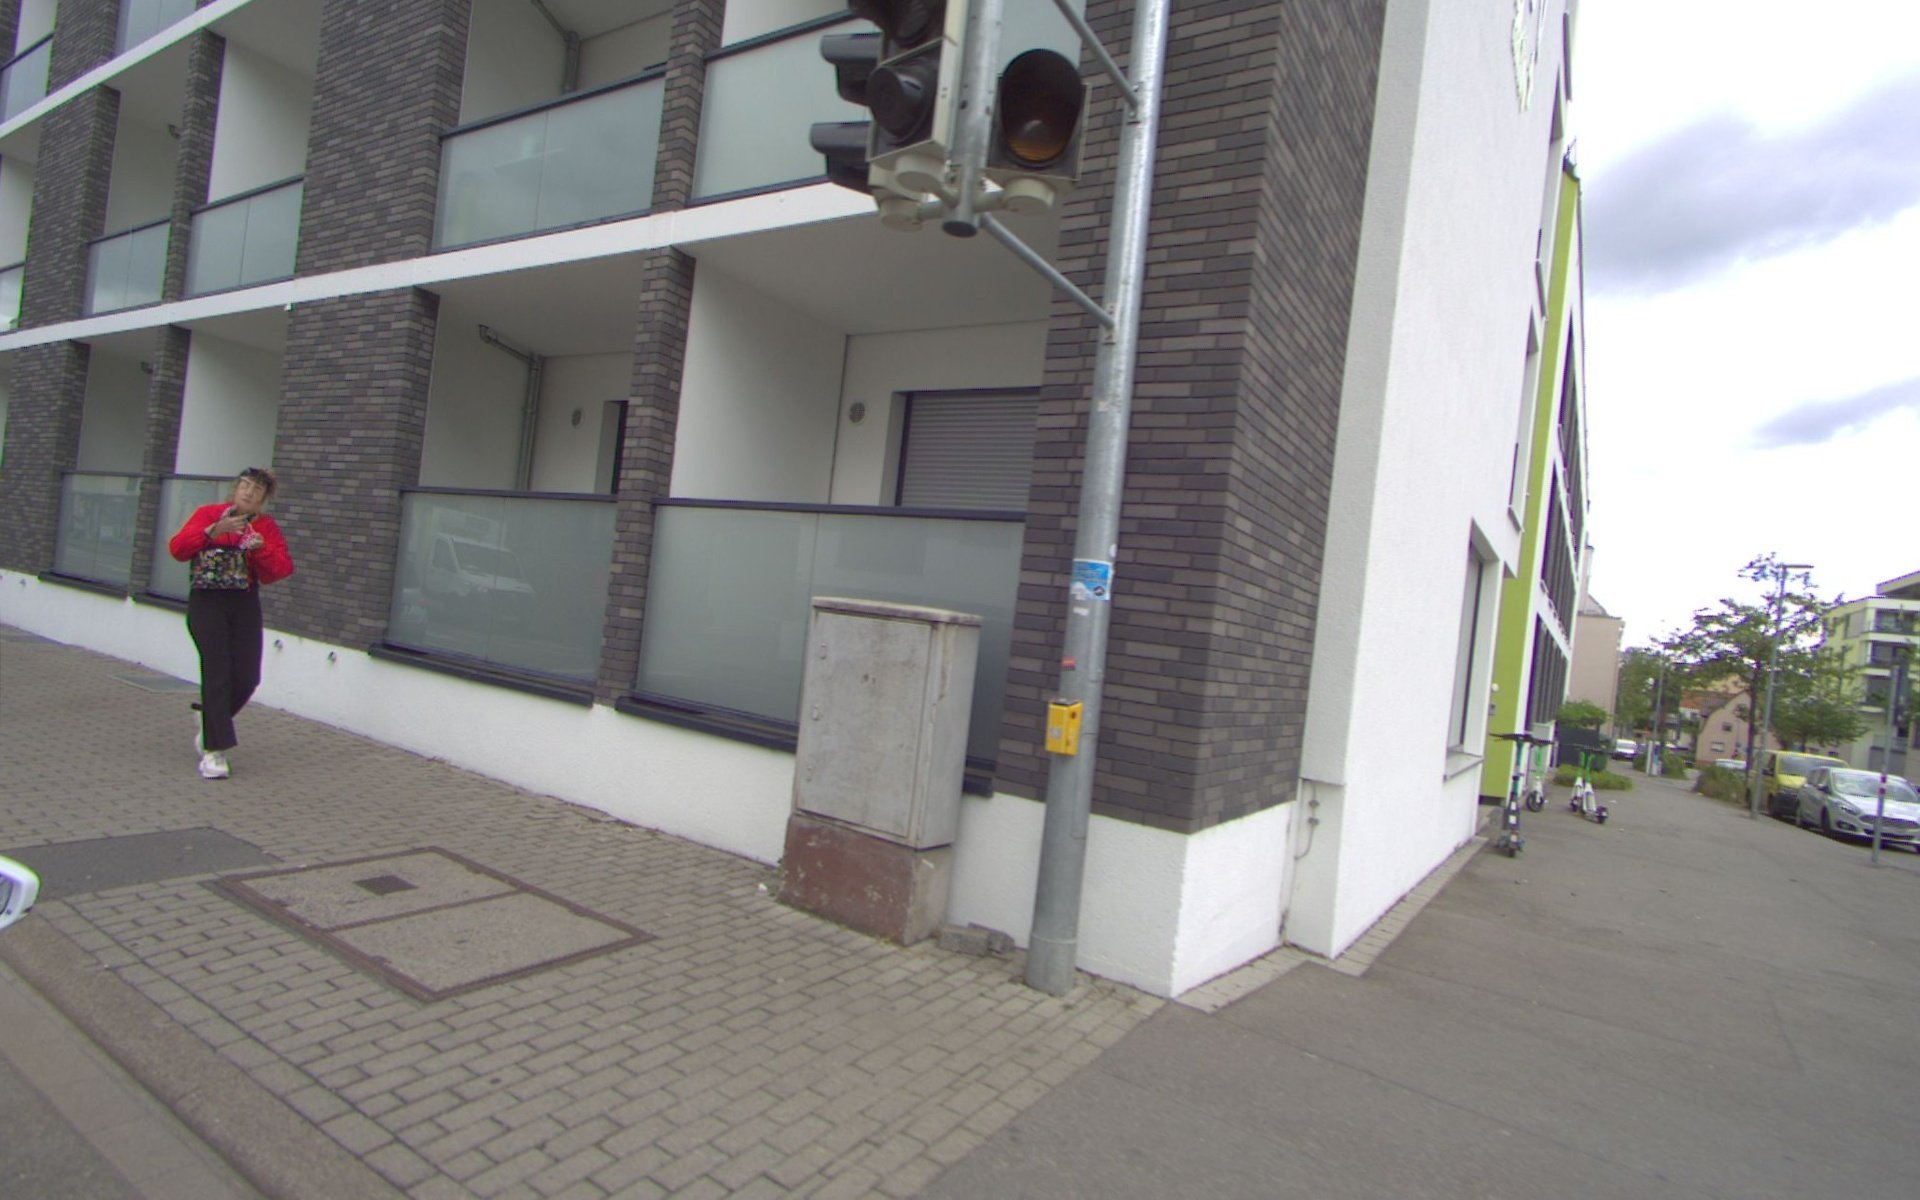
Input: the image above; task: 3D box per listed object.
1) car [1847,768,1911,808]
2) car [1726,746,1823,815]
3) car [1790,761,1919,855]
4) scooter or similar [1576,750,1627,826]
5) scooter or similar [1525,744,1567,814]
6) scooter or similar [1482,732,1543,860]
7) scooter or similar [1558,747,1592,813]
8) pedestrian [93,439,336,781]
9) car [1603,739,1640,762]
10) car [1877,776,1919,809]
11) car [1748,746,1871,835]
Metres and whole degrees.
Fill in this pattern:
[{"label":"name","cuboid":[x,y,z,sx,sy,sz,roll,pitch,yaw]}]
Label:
[{"label":"car","cuboid":[57.379,11.709,62.895,1.937,1.949,4.421,6,-3,31]},{"label":"car","cuboid":[26.735,5.885,33.169,1.778,1.814,4.420,6,-4,32]},{"label":"car","cuboid":[20.887,4.743,23.329,1.778,1.648,4.420,6,-4,32]},{"label":"scooter or similar","cuboid":[10.575,3.083,16.619,0.357,1.091,1.234,6,-2,21]},{"label":"scooter or similar","cuboid":[9.994,3.033,17.148,0.359,1.091,1.229,6,-3,39]},{"label":"scooter or similar","cuboid":[6.013,2.094,10.926,0.400,1.249,1.233,6,-3,33]},{"label":"scooter or similar","cuboid":[11.199,3.256,18.303,0.358,1.091,1.176,6,-3,35]},{"label":"pedestrian","cuboid":[-4.338,0.040,5.869,0.847,1.810,0.808,6,2,33]},{"label":"car","cuboid":[57.073,12.981,86.830,1.965,1.556,4.806,6,-3,27]},{"label":"car","cuboid":[54.262,11.032,57.364,1.937,1.511,4.421,6,-4,31]},{"label":"car","cuboid":[23.440,5.188,27.926,1.778,1.945,4.629,6,-3,32]}]
